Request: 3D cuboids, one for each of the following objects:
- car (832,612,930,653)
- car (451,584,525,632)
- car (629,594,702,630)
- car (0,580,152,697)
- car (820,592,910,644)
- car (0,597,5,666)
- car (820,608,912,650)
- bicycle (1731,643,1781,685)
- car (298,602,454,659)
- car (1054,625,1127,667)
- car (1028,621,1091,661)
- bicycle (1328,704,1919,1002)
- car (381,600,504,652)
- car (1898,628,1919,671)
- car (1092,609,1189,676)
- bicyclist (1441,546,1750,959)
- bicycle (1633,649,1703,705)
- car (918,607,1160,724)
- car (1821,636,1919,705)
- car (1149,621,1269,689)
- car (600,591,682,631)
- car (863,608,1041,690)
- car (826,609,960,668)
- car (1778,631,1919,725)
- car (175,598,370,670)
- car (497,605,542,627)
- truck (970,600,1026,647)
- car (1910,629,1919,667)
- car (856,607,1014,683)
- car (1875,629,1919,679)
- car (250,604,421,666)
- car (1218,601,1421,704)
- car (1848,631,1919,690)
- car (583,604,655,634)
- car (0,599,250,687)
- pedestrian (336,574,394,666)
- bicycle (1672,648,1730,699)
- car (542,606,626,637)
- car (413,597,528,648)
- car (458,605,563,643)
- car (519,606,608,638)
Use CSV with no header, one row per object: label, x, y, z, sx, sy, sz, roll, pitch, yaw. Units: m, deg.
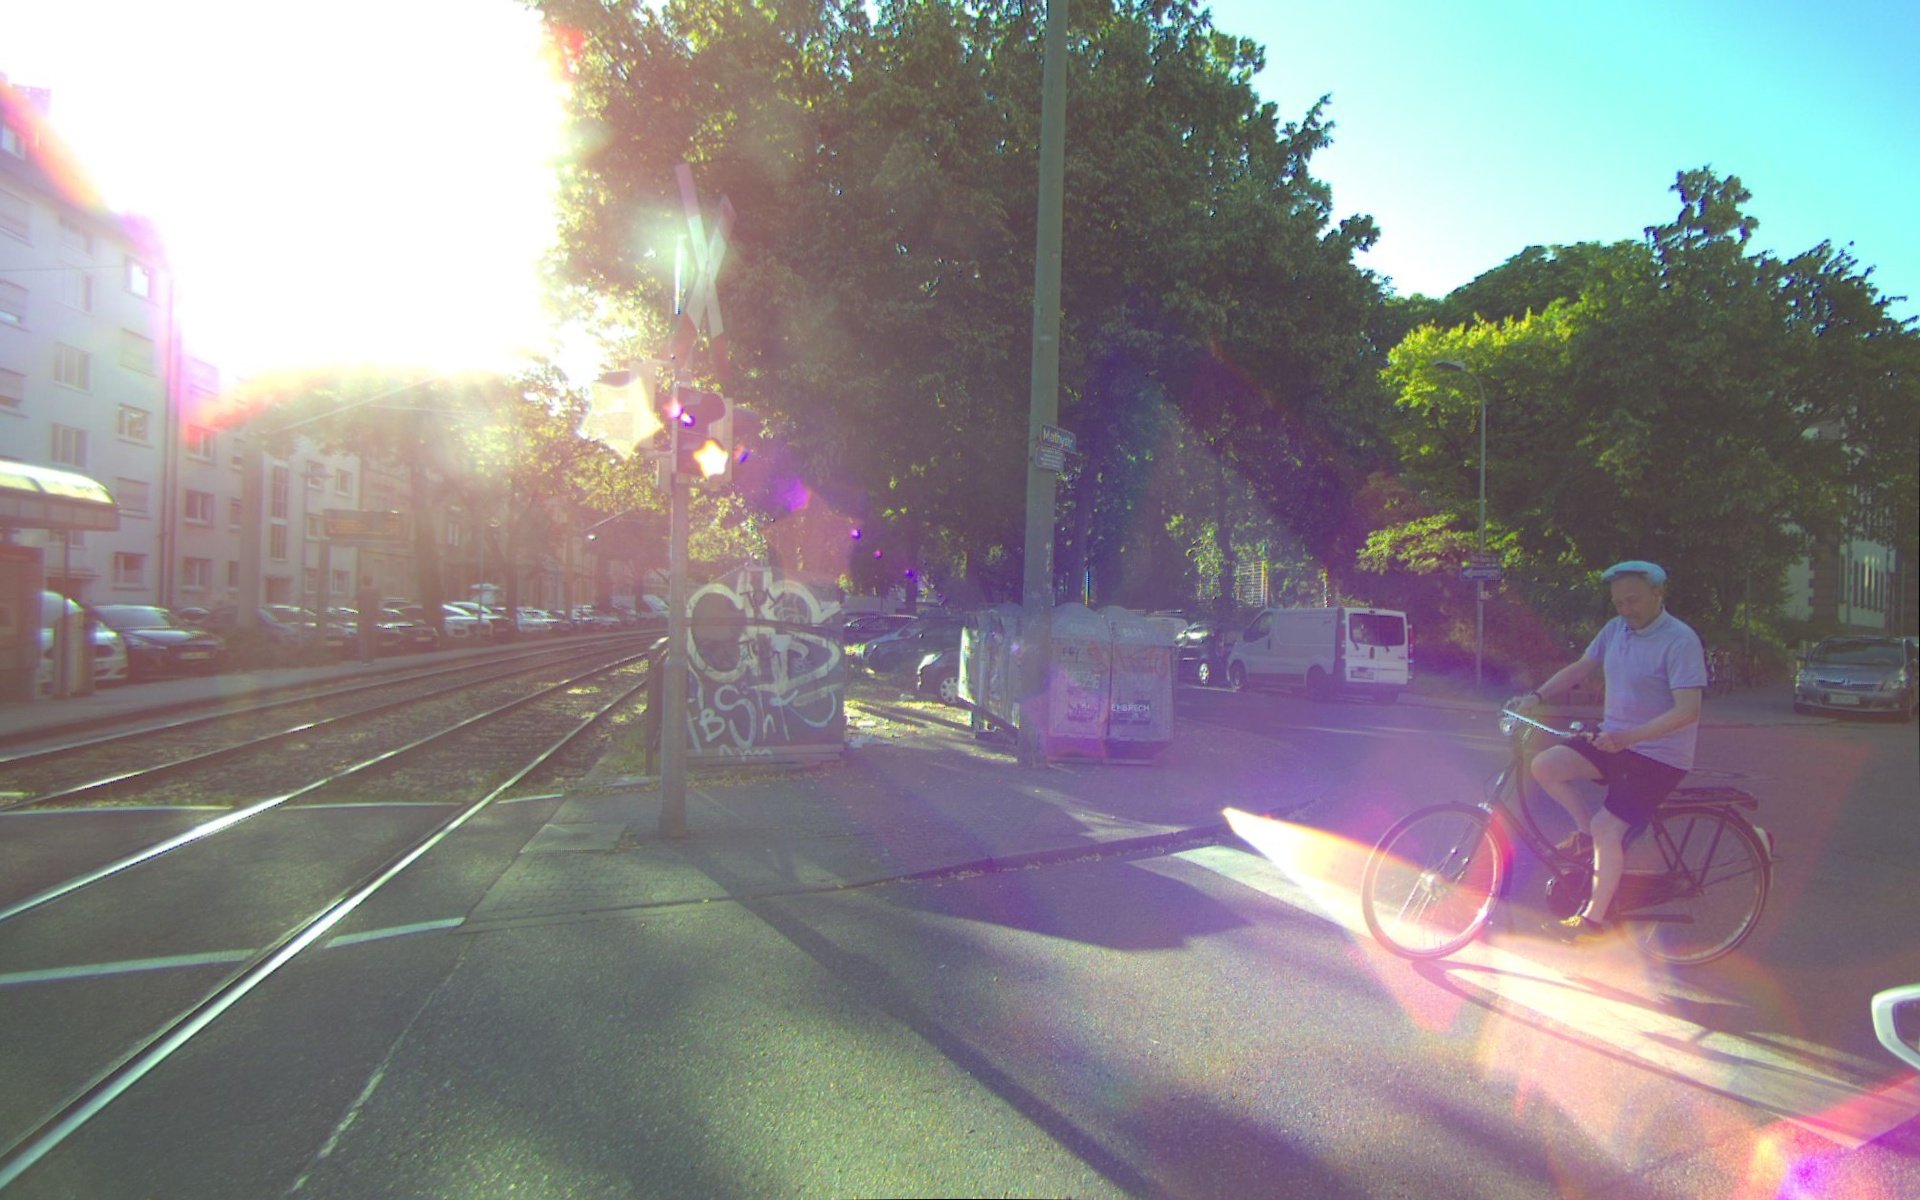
car,-3.347,1.410,42.971,3.752,1.440,1.739,4,-2,12
car,-29.867,0.528,63.817,2.512,2.926,5.477,0,0,-5
car,-23.449,0.922,80.005,5.167,2.606,2.273,-3,0,21
car,-15.028,0.643,15.959,4.161,1.674,1.606,-3,0,23
car,-5.218,0.996,55.052,4.414,2.508,1.819,3,-2,23
car,-24.340,0.763,22.950,1.685,1.695,3.993,0,0,-10
car,-4.266,1.320,45.776,3.752,1.608,1.739,4,-2,12
bicycle,22.211,1.764,28.013,2.606,1.116,0.591,2,-1,-41
car,-17.519,0.913,30.170,4.157,1.478,1.608,-3,0,17
car,4.672,1.634,36.401,1.549,1.404,3.593,1,-1,-11
car,4.037,1.644,41.199,1.549,1.487,3.593,1,-1,-11
bicycle,2.760,1.039,4.323,2.082,1.068,0.701,2,-1,-1
car,-18.593,0.939,36.063,4.165,1.673,1.855,-3,0,29
car,37.125,1.924,38.118,3.901,1.520,1.809,2,2,-42
car,5.569,1.274,31.472,1.549,1.929,3.892,1,-1,-13
bicyclist,2.681,0.607,4.320,0.857,1.609,0.701,1,-1,-1
bicycle,15.425,1.641,21.850,2.606,1.116,0.592,2,-1,-40
car,1.333,1.023,16.547,3.661,1.540,1.608,4,0,16
car,23.576,1.746,25.664,3.901,1.466,1.809,2,2,-42
car,6.597,1.431,27.013,1.550,1.659,3.701,1,-1,-14
car,-22.675,0.789,71.409,5.167,2.606,2.273,-3,0,21
car,-0.157,1.045,22.148,3.546,1.466,1.608,4,0,16
car,-2.055,1.205,31.340,3.752,1.516,1.739,4,-2,12
car,18.827,1.557,21.103,4.259,1.636,1.809,2,2,-42
car,-16.645,0.823,24.355,4.157,1.528,1.608,-3,0,17
car,-30.724,1.101,70.183,1.684,1.465,3.997,0,0,-5
truck,1.992,1.270,54.472,2.330,2.383,4.378,1,-1,-7
car,40.929,2.061,41.649,3.901,1.520,1.809,2,2,-42
car,-0.608,1.089,25.065,3.546,1.583,1.608,4,0,16
car,32.123,1.822,33.575,3.901,1.520,1.809,2,2,-42
car,-17.165,0.955,27.619,4.157,1.478,1.608,-3,0,17
car,7.839,1.084,22.436,1.918,2.030,4.644,1,-1,-16
car,27.604,1.753,29.457,3.901,1.498,1.809,2,2,-42
car,-22.158,1.236,65.240,4.159,1.721,1.857,-3,0,21
car,-15.801,0.803,18.968,4.123,1.456,1.701,-3,0,17
pedestrian,-12.807,0.433,21.636,0.837,1.936,0.835,1,-1,-15
bicycle,17.450,1.699,23.632,2.608,1.116,0.591,2,-1,-42
car,-21.078,1.203,56.335,4.159,1.492,1.857,-3,0,21
car,-18.814,0.867,38.568,4.165,1.772,1.855,-3,0,29
car,-20.120,1.059,44.970,4.159,1.492,1.857,-3,0,21
car,-20.989,1.163,53.223,4.159,1.492,1.857,-3,0,21
